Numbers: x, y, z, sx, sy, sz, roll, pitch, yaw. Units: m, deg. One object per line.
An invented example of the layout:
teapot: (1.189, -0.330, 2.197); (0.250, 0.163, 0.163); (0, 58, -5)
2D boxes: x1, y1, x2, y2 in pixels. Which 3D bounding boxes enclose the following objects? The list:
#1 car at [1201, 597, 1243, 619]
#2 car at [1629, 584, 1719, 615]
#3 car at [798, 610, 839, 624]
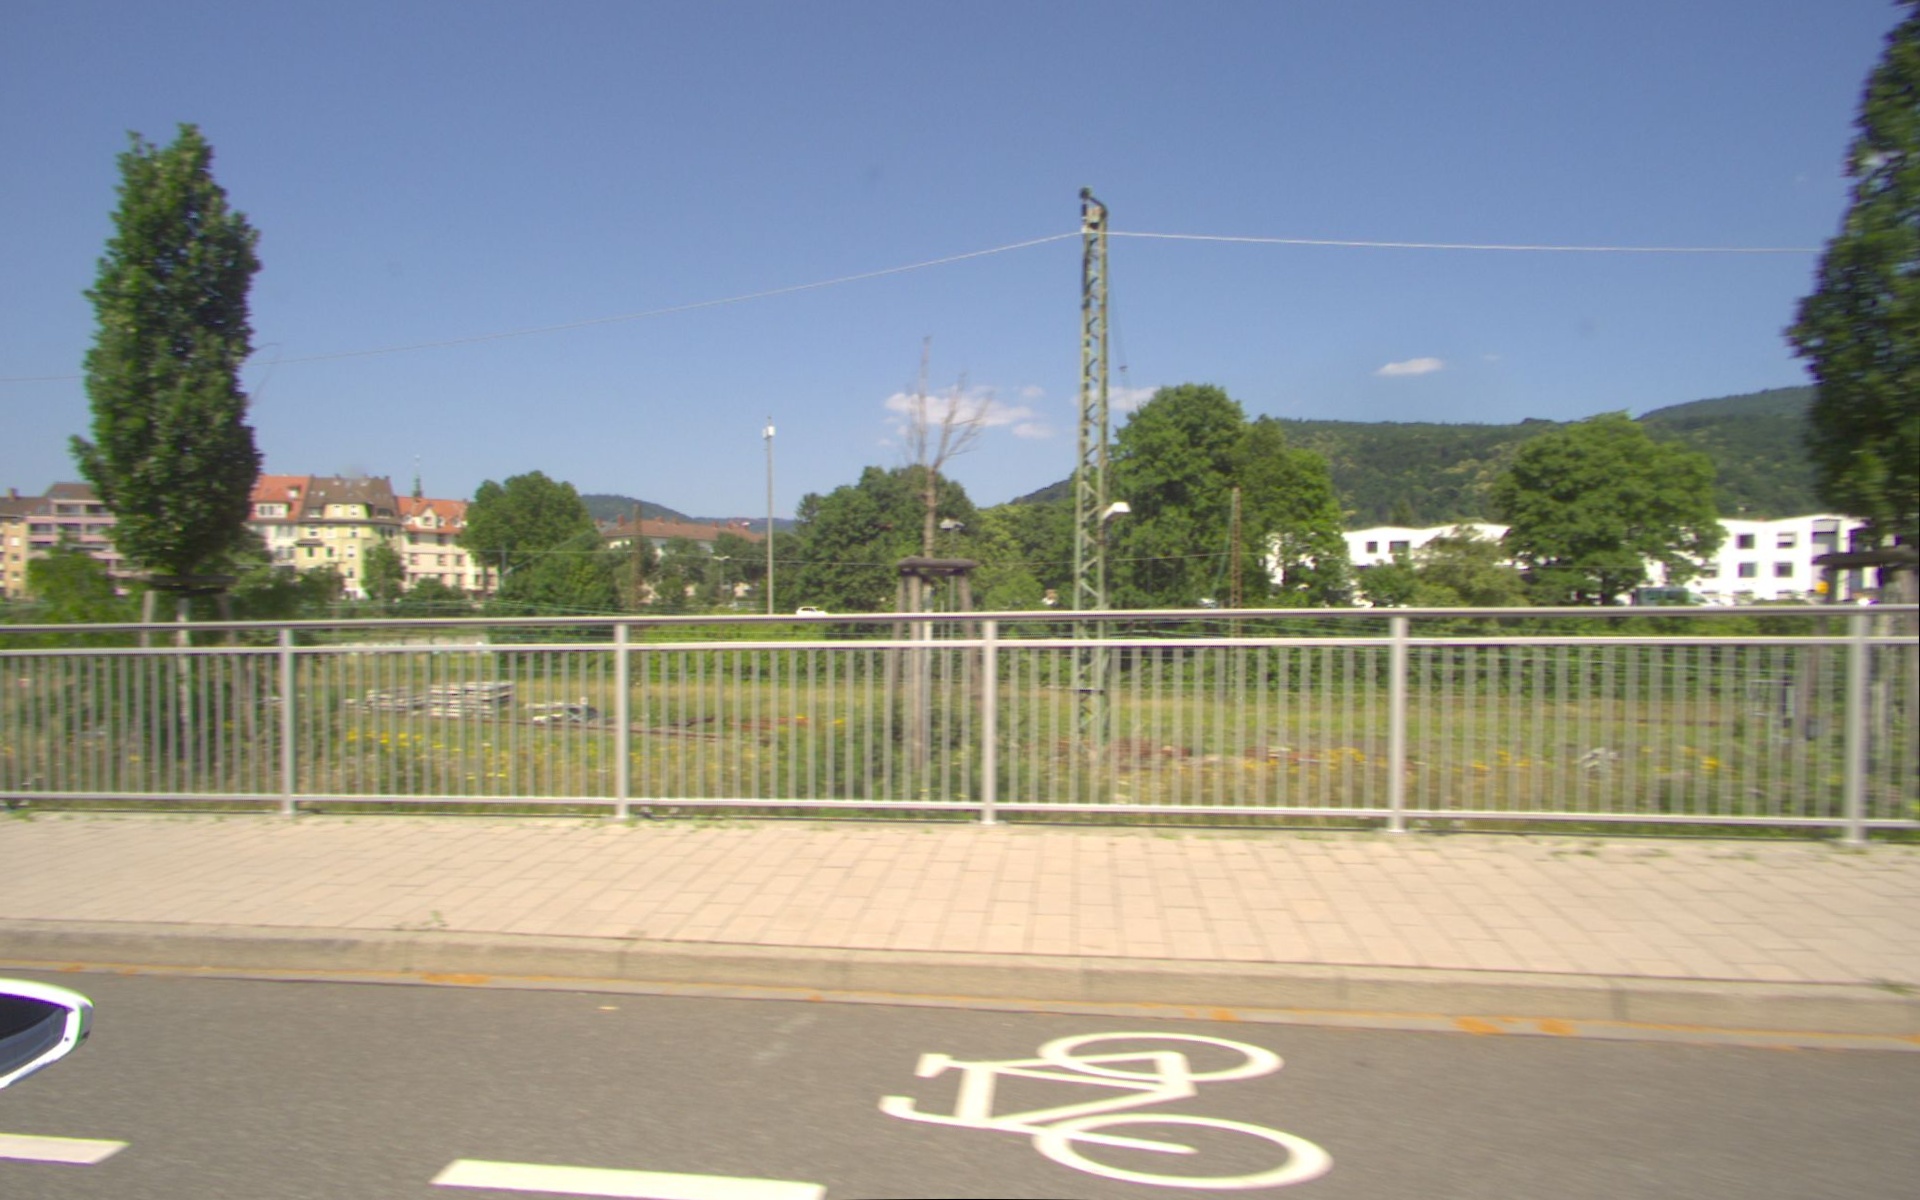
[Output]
car: (26.558, 0.806, 101.581); (3.871, 2.038, 1.751); (-2, -4, 25)
car: (57.897, 0.001, 81.331); (5.421, 2.127, 2.134); (-2, -5, 18)
car: (-15.094, 1.791, 106.665); (4.260, 1.385, 1.853); (-1, 0, 37)
